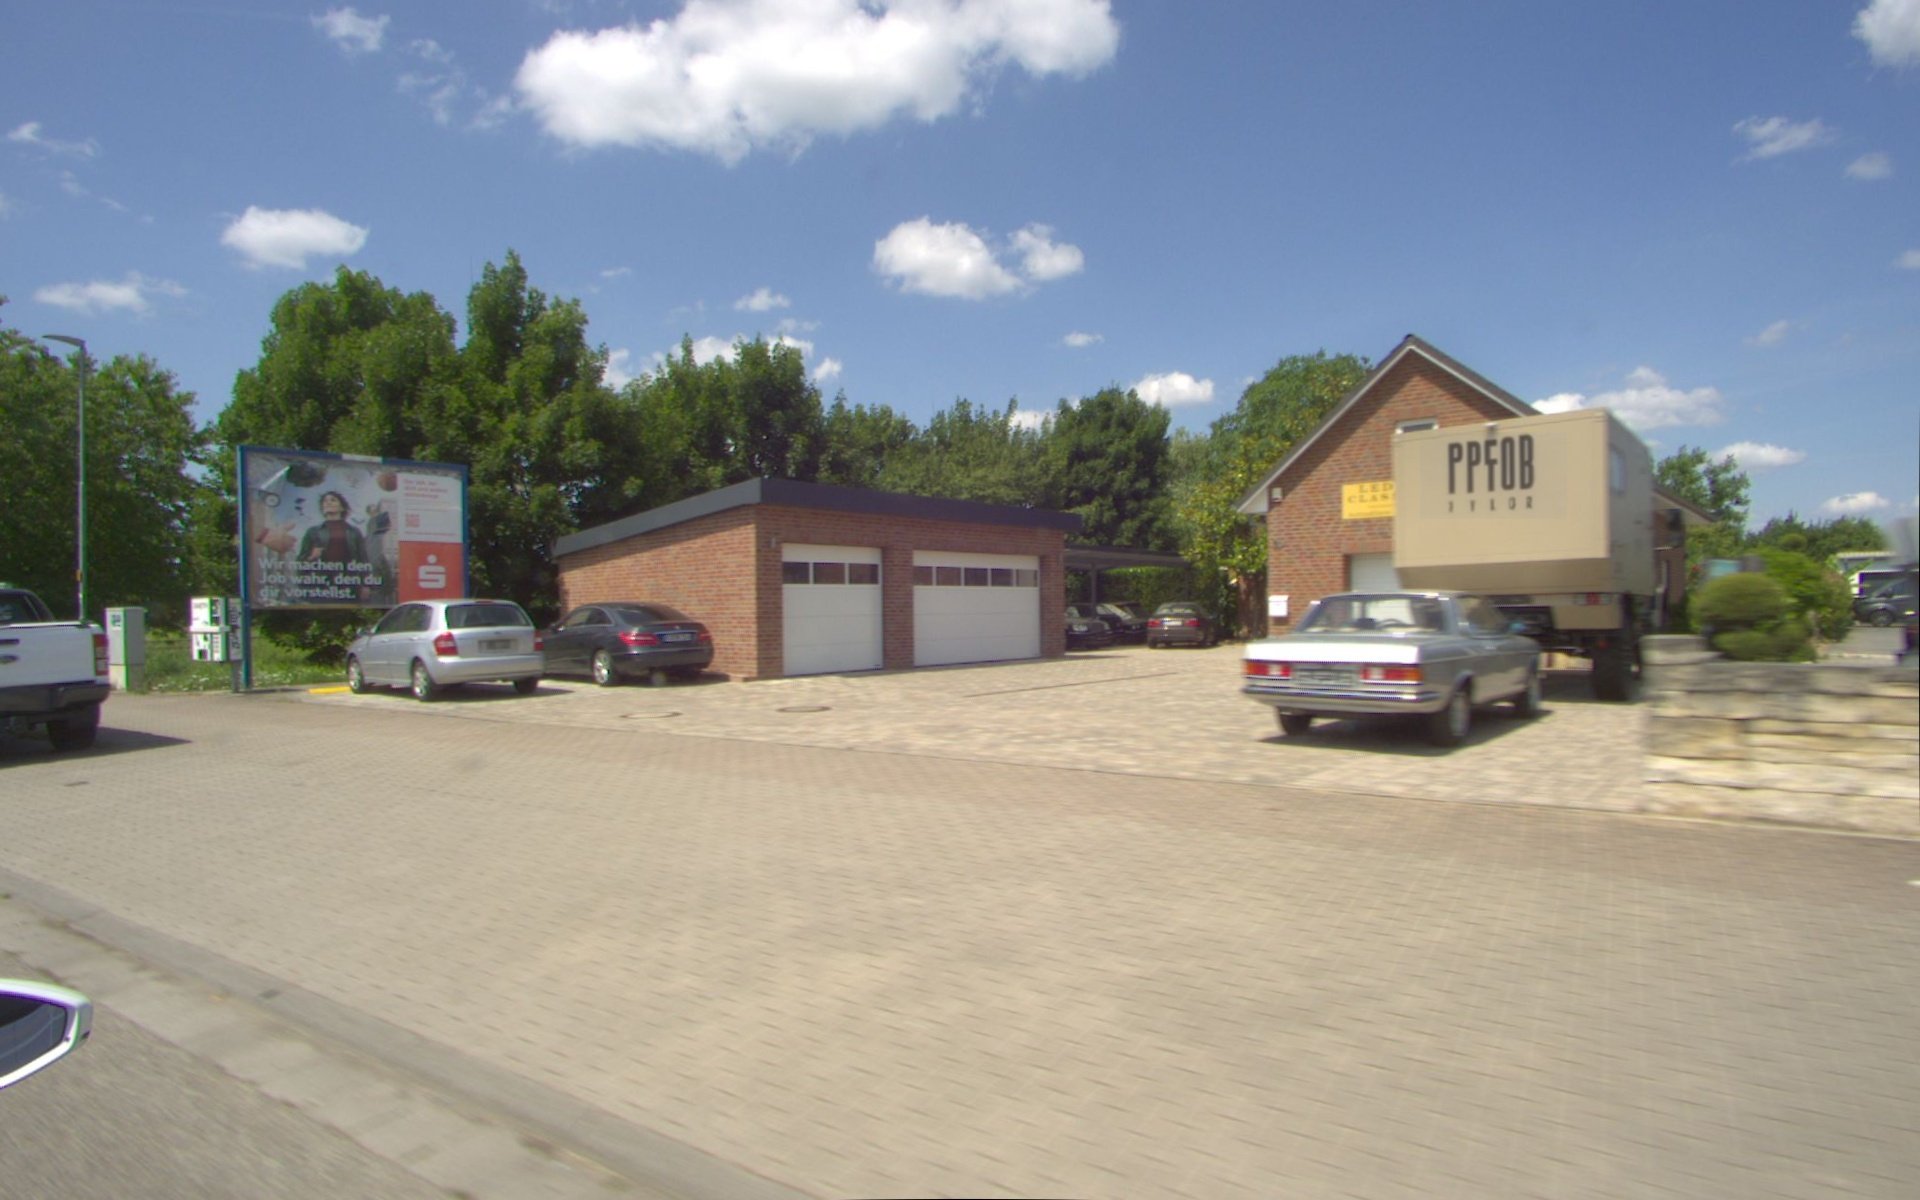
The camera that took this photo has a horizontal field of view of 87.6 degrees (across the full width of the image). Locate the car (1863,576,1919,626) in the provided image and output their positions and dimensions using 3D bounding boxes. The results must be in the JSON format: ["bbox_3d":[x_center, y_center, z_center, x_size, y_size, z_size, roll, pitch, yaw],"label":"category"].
[{"bbox_3d":[38.289,0.024,38.956,4.646,1.926,1.773,0,0,42],"label":"car"}]

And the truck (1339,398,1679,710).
[{"bbox_3d":[8.192,-0.513,14.499,3.070,3.433,6.430,0,0,41],"label":"truck"}]

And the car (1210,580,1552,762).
[{"bbox_3d":[4.418,0.555,10.118,1.954,1.439,4.245,0,0,41],"label":"car"}]

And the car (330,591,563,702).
[{"bbox_3d":[-8.170,0.655,15.813,3.953,1.500,1.896,-1,1,40],"label":"car"}]

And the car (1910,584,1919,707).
[{"bbox_3d":[12.458,0.473,10.250,3.960,1.341,1.772,-1,0,44],"label":"car"}]

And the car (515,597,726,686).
[{"bbox_3d":[-6.031,0.663,17.609,3.953,1.394,1.738,-1,0,40],"label":"car"}]

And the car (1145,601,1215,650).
[{"bbox_3d":[6.716,0.719,30.353,1.615,1.353,3.810,-1,0,19],"label":"car"}]

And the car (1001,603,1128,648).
[{"bbox_3d":[3.355,0.793,32.134,3.755,1.353,1.639,-1,1,24],"label":"car"}]

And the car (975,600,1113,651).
[{"bbox_3d":[2.499,0.742,29.701,3.755,1.409,1.639,-1,1,24],"label":"car"}]

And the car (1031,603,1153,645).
[{"bbox_3d":[4.456,0.794,33.772,3.755,1.353,1.639,-1,1,24],"label":"car"}]

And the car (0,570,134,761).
[{"bbox_3d":[-11.455,0.656,11.167,5.347,1.839,1.843,-1,2,32],"label":"car"}]
